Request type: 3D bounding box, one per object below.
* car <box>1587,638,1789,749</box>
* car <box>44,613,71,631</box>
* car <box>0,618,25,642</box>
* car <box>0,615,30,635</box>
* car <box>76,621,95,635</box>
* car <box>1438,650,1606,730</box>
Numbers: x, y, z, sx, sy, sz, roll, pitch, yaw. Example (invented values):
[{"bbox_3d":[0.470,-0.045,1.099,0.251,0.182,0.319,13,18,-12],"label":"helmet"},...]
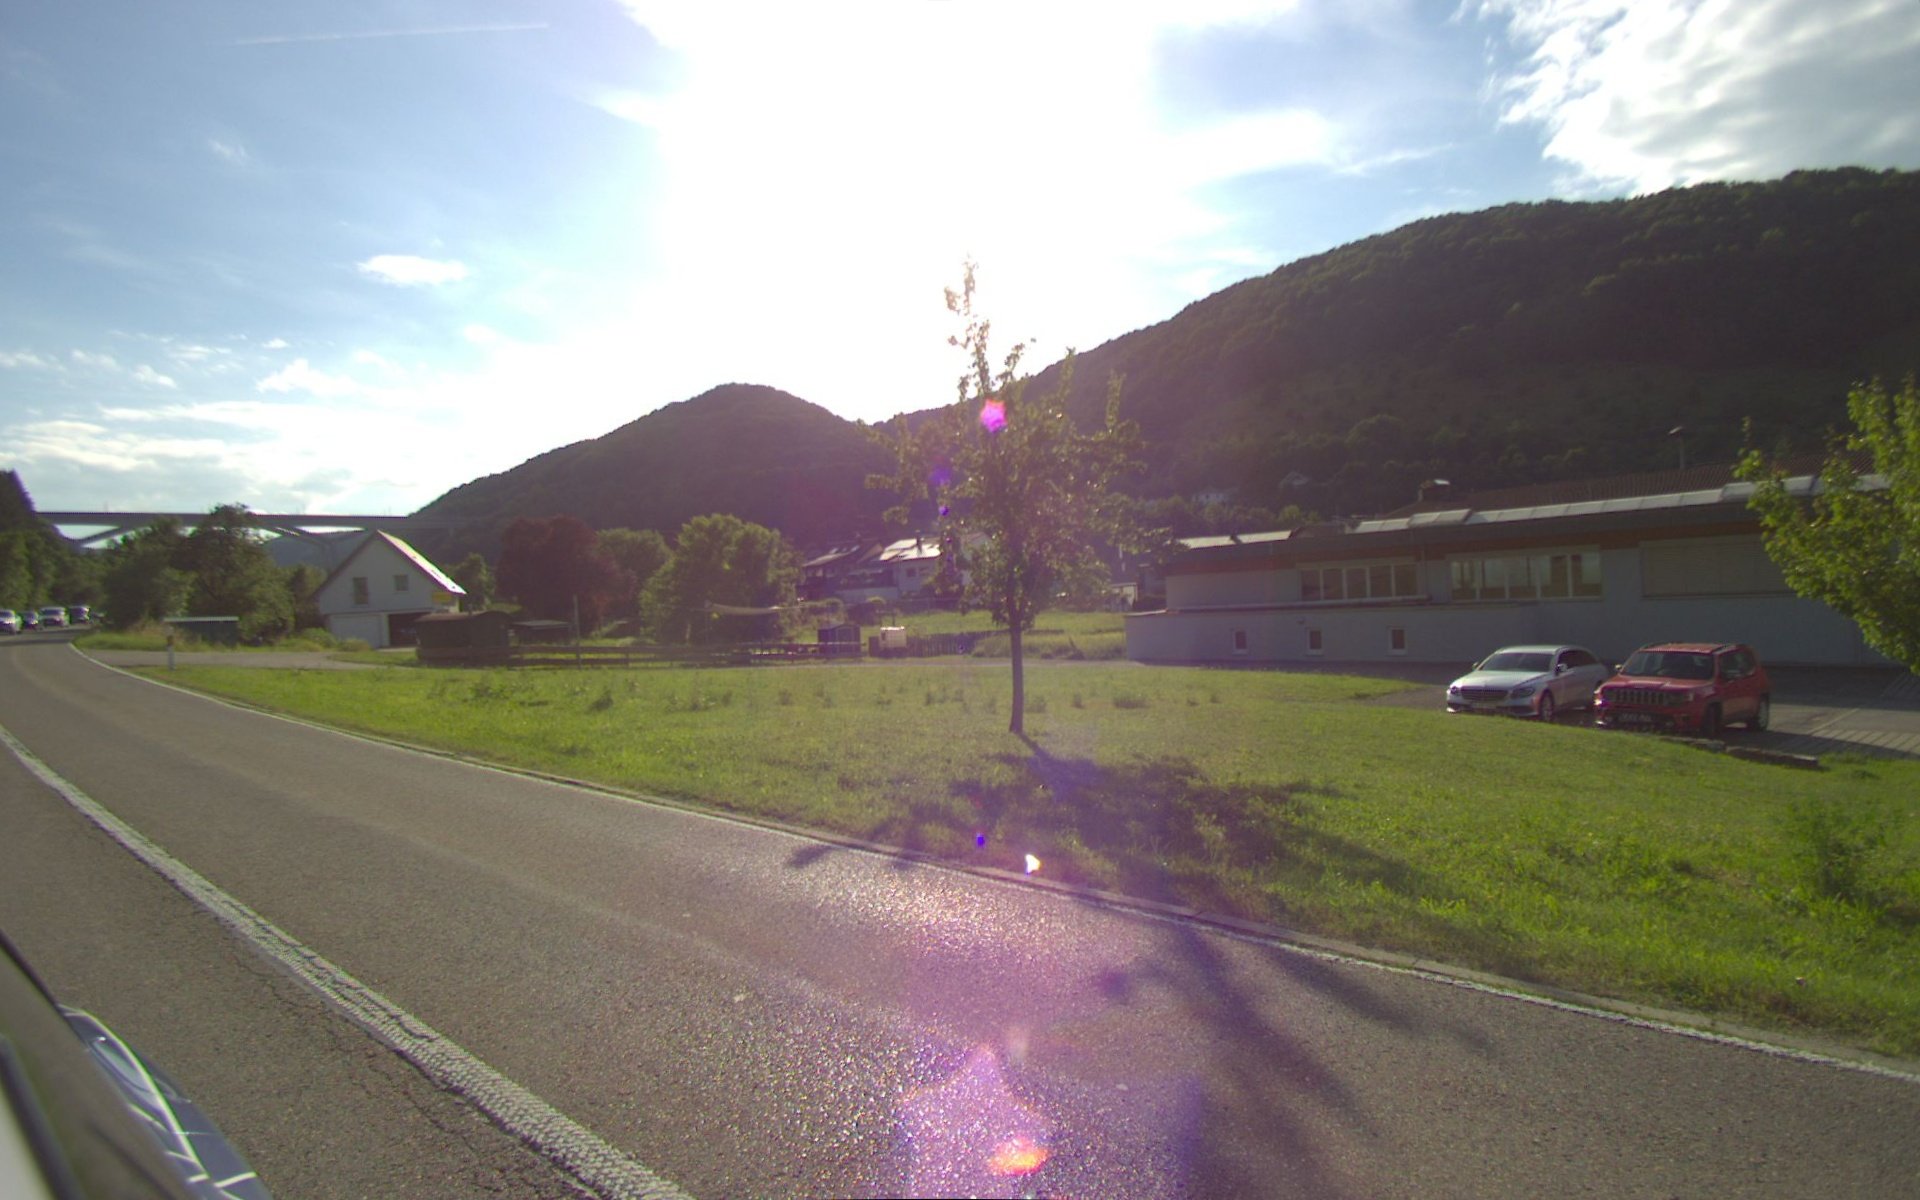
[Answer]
[{"bbox_3d":[13.714,1.643,18.998,4.264,1.682,1.852,-1,0,-36],"label":"car"},{"bbox_3d":[-80.395,1.930,90.147,3.681,1.490,1.607,-1,0,45],"label":"car"},{"bbox_3d":[-61.682,1.919,65.306,3.678,1.490,1.609,-1,0,42],"label":"car"},{"bbox_3d":[-71.678,1.880,76.709,1.606,1.490,3.684,-1,0,-41],"label":"car"},{"bbox_3d":[-98.862,3.123,114.365,1.606,1.490,3.684,-1,0,-41],"label":"car"},{"bbox_3d":[11.967,1.838,21.467,3.837,1.379,1.856,0,0,-39],"label":"car"}]
